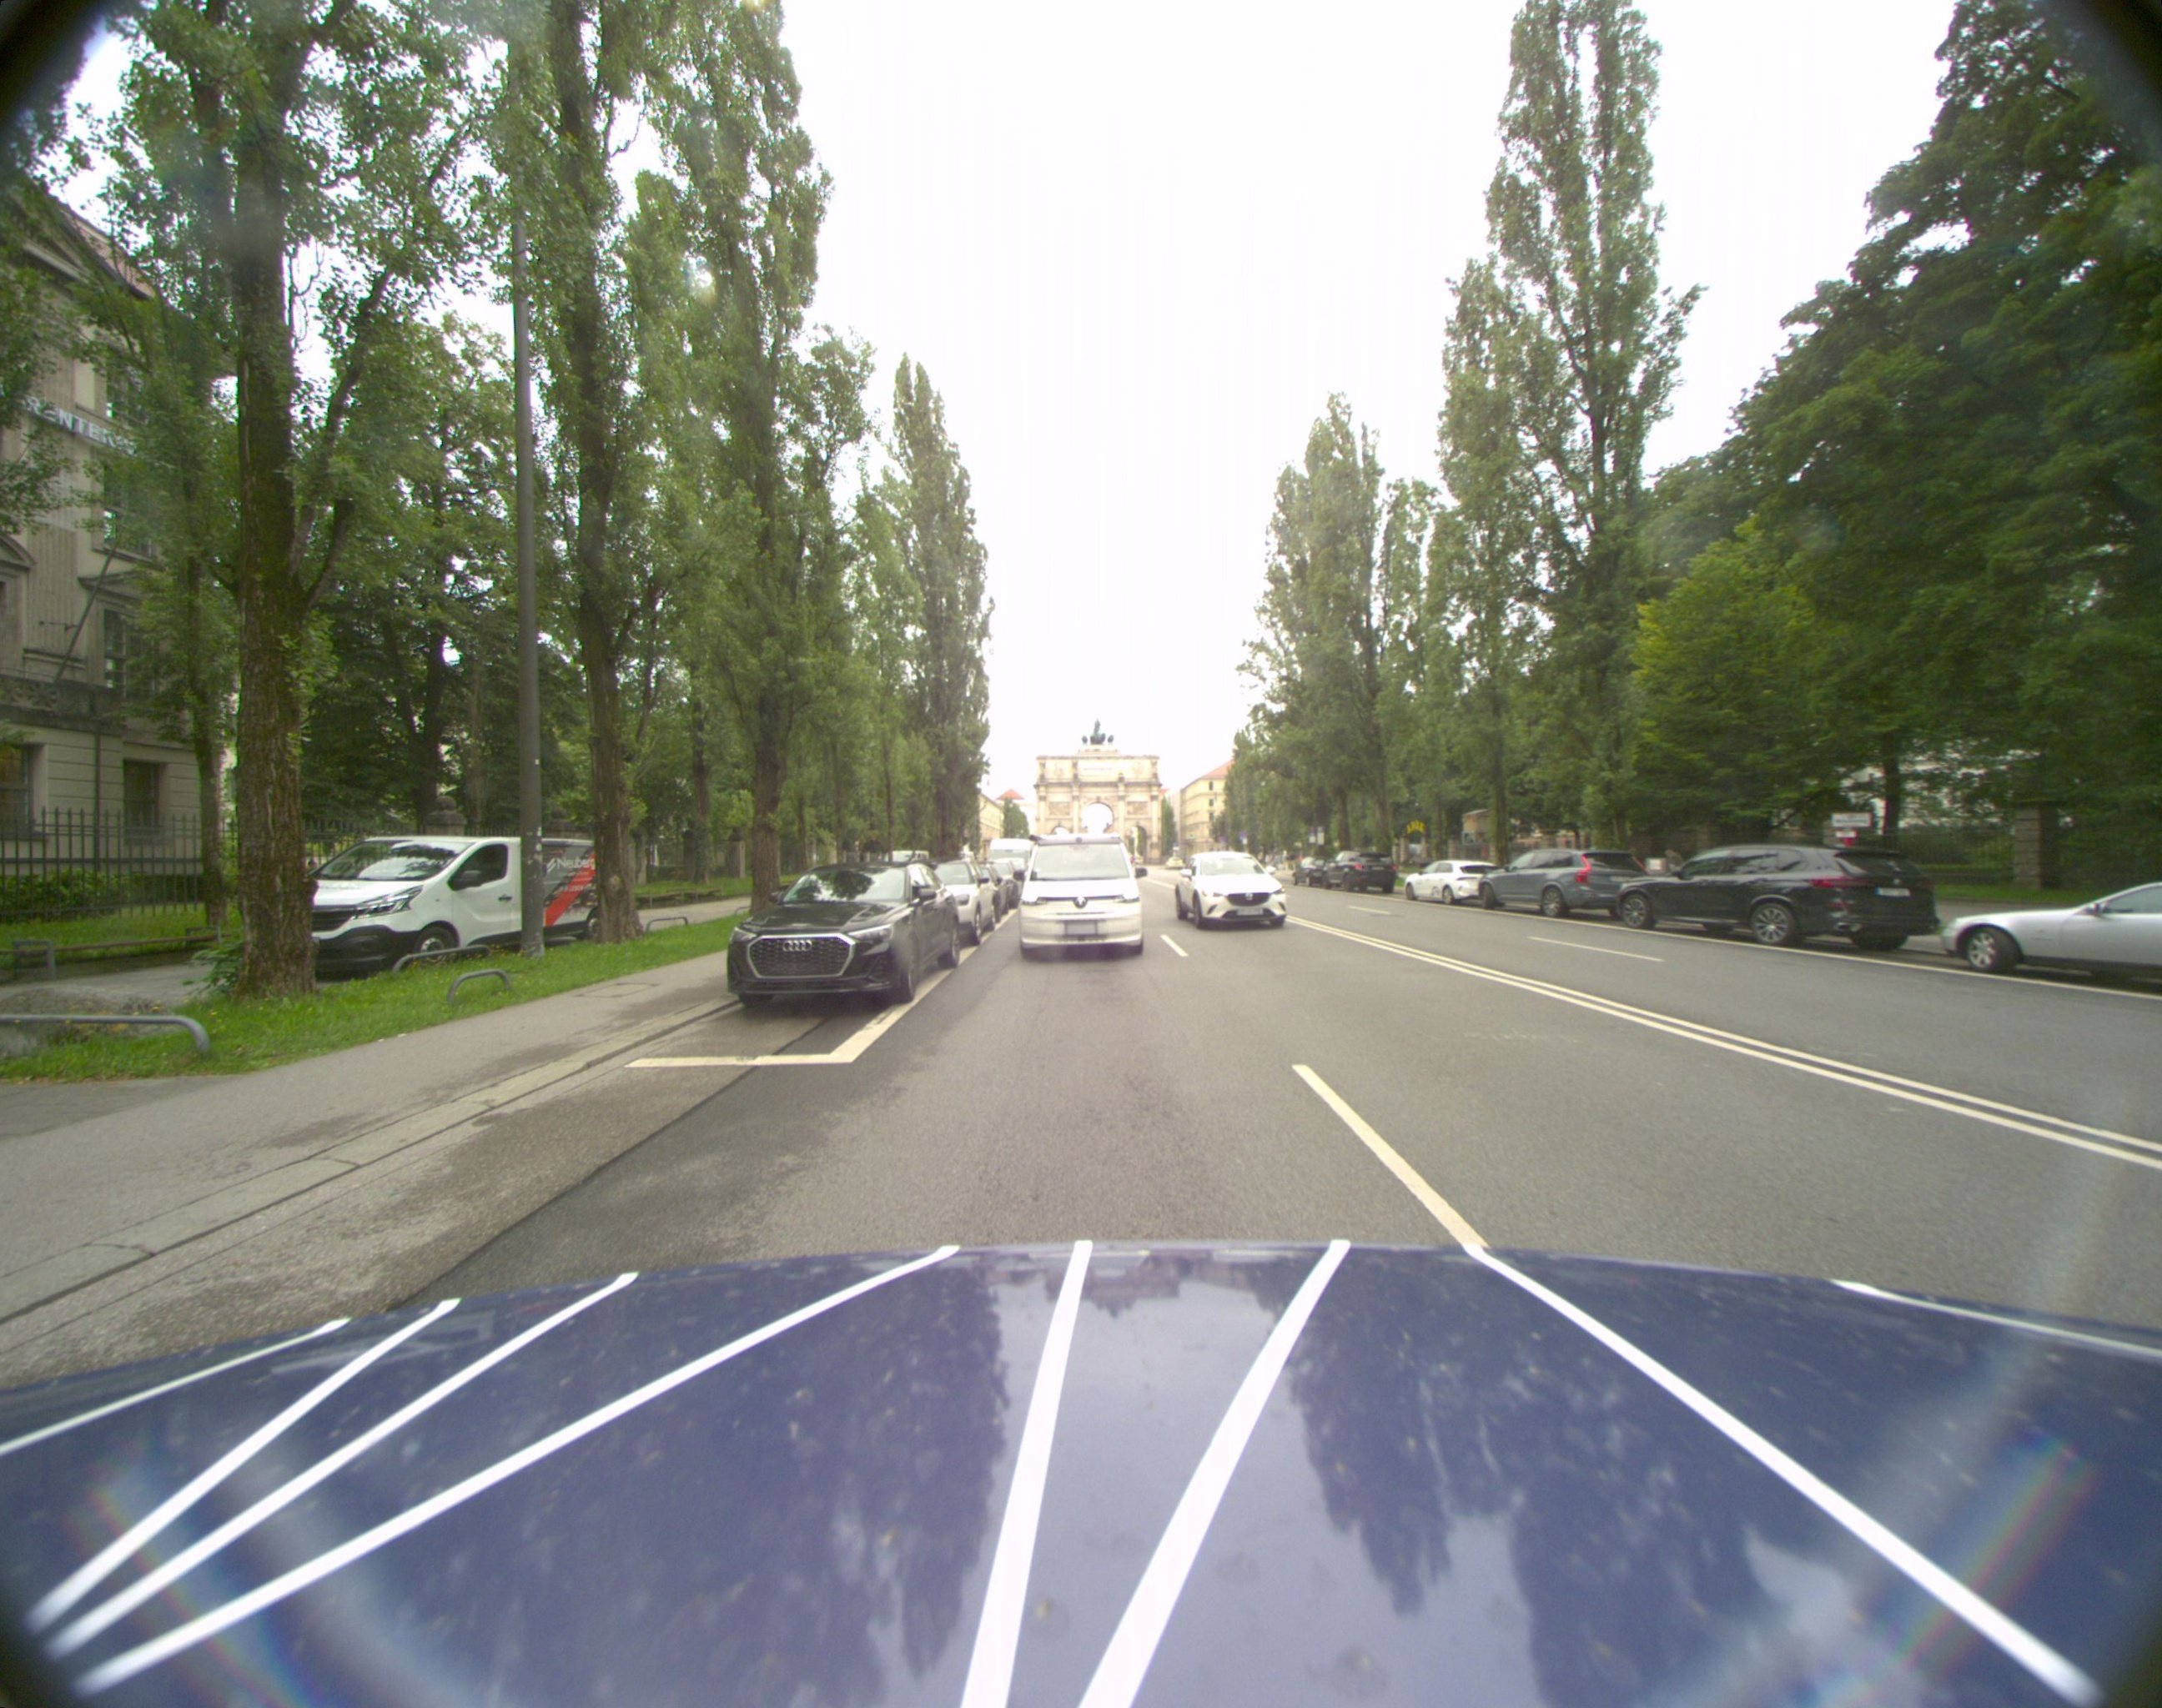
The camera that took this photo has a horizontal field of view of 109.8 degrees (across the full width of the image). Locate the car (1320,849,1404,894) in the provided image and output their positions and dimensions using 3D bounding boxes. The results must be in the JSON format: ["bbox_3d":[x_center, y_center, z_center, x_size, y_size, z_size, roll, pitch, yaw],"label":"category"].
[{"bbox_3d":[12.319,0.719,33.681,2.051,1.776,4.800,1,0,2],"label":"car"}]

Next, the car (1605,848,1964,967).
[{"bbox_3d":[12.400,0.808,14.009,1.946,1.757,4.894,2,0,-2],"label":"car"}]

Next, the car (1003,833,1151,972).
[{"bbox_3d":[-0.035,0.684,13.661,2.064,1.916,5.728,-1,0,0],"label":"car"}]

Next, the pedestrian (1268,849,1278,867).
[{"bbox_3d":[18.282,0.385,72.426,0.689,1.690,0.885,-1,0,-1],"label":"pedestrian"}]

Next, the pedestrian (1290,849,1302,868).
[{"bbox_3d":[19.899,0.437,70.316,0.711,1.762,1.092,0,1,-1],"label":"pedestrian"}]

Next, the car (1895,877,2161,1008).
[{"bbox_3d":[12.529,1.020,8.688,1.831,1.326,4.233,2,0,-1],"label":"car"}]

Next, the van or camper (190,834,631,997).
[{"bbox_3d":[-9.732,0.753,11.914,2.081,1.922,5.368,-2,0,0],"label":"van or camper"}]

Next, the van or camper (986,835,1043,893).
[{"bbox_3d":[-3.106,0.426,36.725,2.144,2.525,6.416,-1,0,0],"label":"van or camper"}]

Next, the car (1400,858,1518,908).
[{"bbox_3d":[12.333,0.896,25.146,1.708,1.450,4.272,1,0,-1],"label":"car"}]

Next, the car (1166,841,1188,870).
[{"bbox_3d":[11.510,0.132,91.144,1.797,1.334,4.450,6,28,-5],"label":"car"}]

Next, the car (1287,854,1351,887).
[{"bbox_3d":[12.434,0.814,39.970,1.949,1.574,4.388,1,0,0],"label":"car"}]

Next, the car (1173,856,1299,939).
[{"bbox_3d":[3.154,0.821,16.260,1.910,1.516,4.009,-1,0,1],"label":"car"}]

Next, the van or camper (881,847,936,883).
[{"bbox_3d":[-9.848,0.608,43.805,1.980,1.922,5.037,-2,0,-1],"label":"van or camper"}]

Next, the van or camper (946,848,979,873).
[{"bbox_3d":[-9.821,0.531,63.291,2.009,2.002,4.985,-2,0,-2],"label":"van or camper"}]

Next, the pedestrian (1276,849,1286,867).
[{"bbox_3d":[19.025,0.401,72.276,0.661,1.706,0.911,-1,0,-1],"label":"pedestrian"}]

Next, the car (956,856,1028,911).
[{"bbox_3d":[-2.803,0.881,24.845,1.788,1.608,4.637,-1,0,0],"label":"car"}]

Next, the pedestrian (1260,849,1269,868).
[{"bbox_3d":[17.521,0.428,72.520,0.631,1.737,0.908,-1,0,-1],"label":"pedestrian"}]

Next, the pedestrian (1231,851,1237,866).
[{"bbox_3d":[17.970,0.550,89.280,0.533,1.720,0.583,-1,0,-11],"label":"pedestrian"}]

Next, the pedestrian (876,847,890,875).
[{"bbox_3d":[-14.419,0.477,55.286,0.905,2.002,0.956,0,1,-16],"label":"pedestrian"}]

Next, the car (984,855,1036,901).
[{"bbox_3d":[-2.725,0.884,30.090,1.789,1.639,4.417,-1,0,-2],"label":"car"}]

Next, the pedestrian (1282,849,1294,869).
[{"bbox_3d":[19.157,0.461,70.318,0.711,1.823,1.092,0,1,-1],"label":"pedestrian"}]

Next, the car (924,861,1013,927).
[{"bbox_3d":[-2.819,0.961,19.949,1.707,1.511,4.295,-1,0,0],"label":"car"}]

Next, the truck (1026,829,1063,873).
[{"bbox_3d":[-3.079,-0.222,66.639,2.852,3.543,10.277,-1,0,-1],"label":"truck"}]

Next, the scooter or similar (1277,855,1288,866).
[{"bbox_3d":[21.120,0.696,79.658,0.747,1.171,1.415,1,0,-5],"label":"scooter or similar"}]

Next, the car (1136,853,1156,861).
[{"bbox_3d":[13.844,0.633,161.829,2.004,1.739,3.989,-1,0,-40],"label":"car"}]

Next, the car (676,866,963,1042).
[{"bbox_3d":[-2.743,0.951,9.195,1.885,1.531,4.464,-1,0,0],"label":"car"}]

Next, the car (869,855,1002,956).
[{"bbox_3d":[-2.672,0.874,15.017,1.747,1.665,4.579,-1,0,0],"label":"car"}]

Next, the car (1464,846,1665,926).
[{"bbox_3d":[12.449,0.739,20.086,1.914,1.779,5.179,2,0,-1],"label":"car"}]
